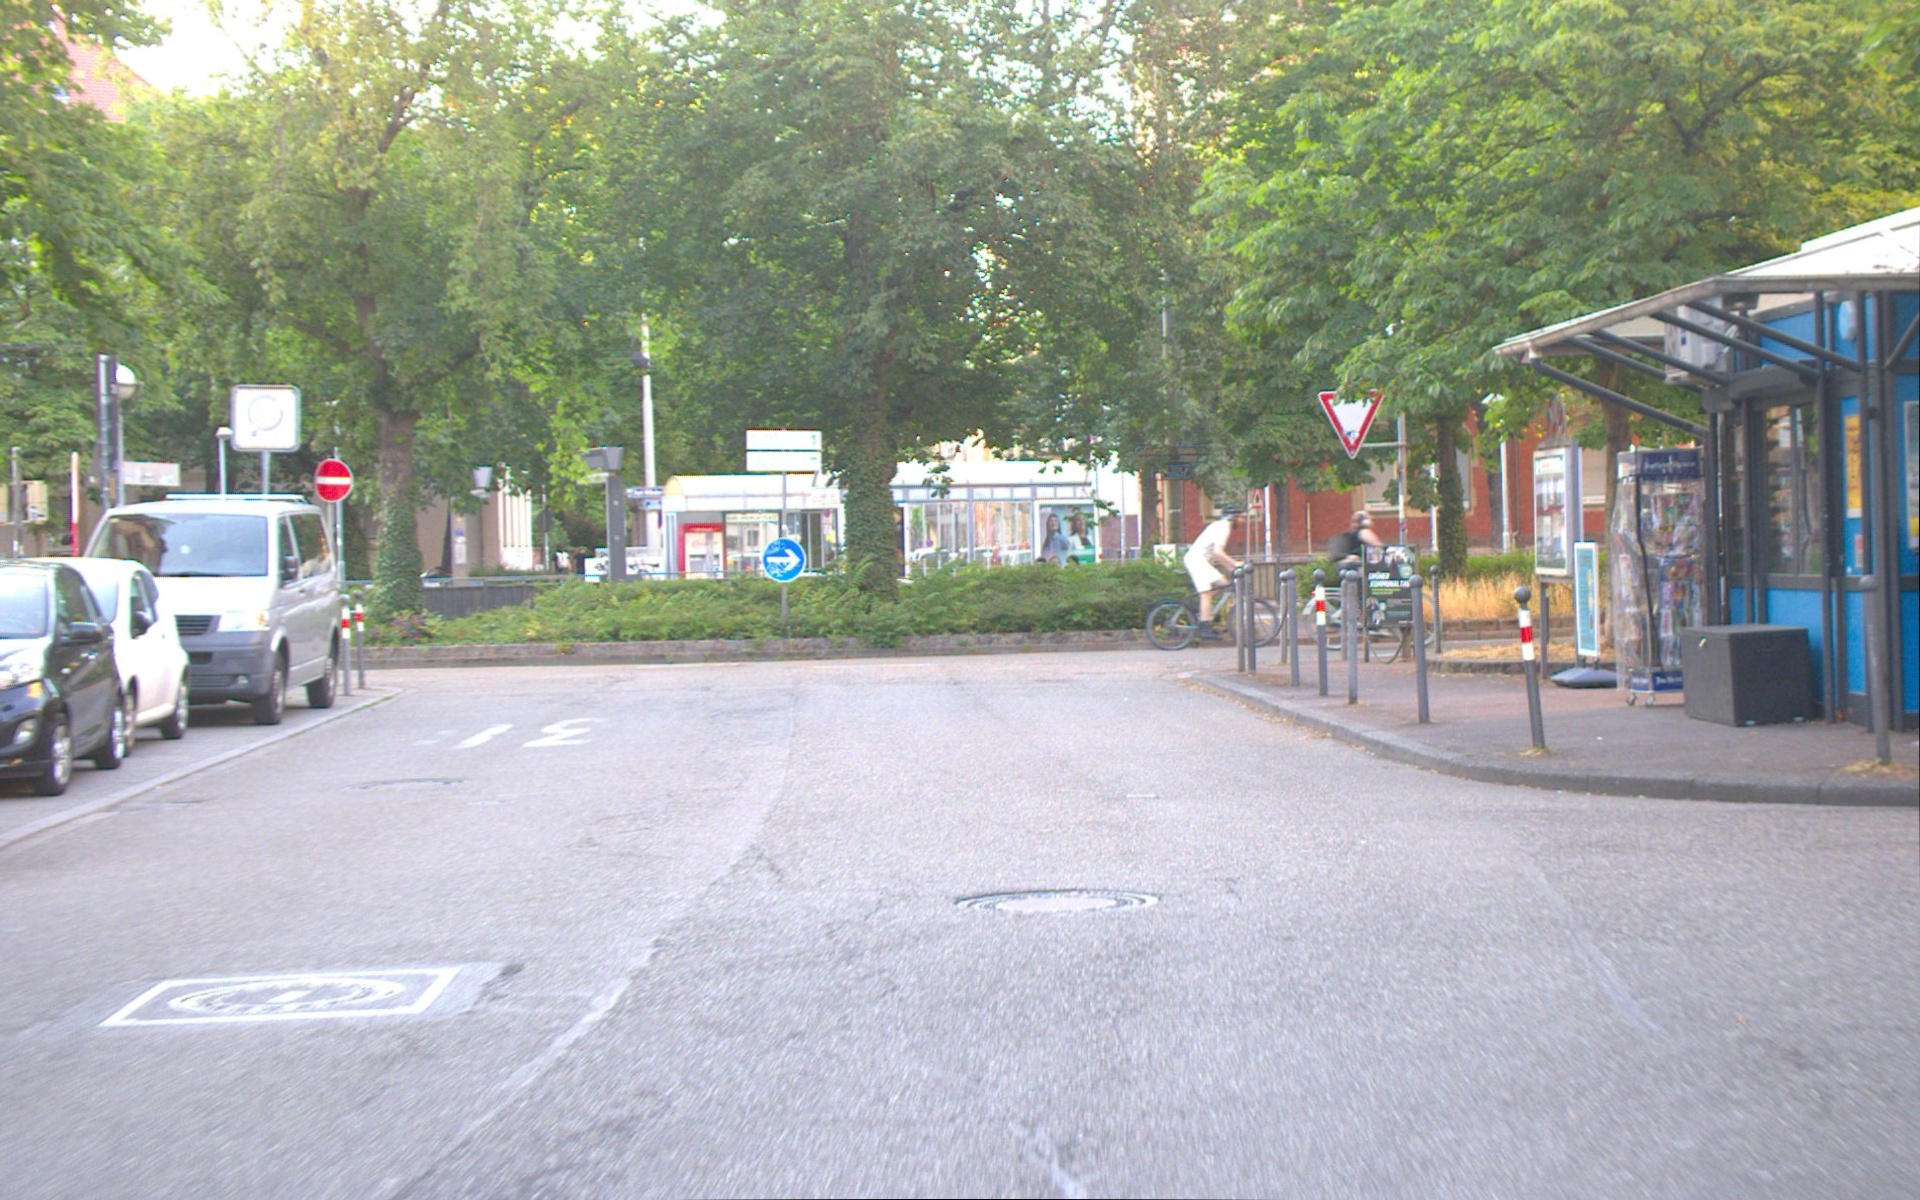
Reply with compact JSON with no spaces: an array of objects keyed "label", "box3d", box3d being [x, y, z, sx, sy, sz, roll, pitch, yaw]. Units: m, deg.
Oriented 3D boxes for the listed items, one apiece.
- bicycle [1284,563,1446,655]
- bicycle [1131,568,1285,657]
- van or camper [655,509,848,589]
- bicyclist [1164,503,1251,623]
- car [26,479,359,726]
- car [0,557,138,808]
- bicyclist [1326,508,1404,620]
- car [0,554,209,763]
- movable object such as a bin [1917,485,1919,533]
[{"label":"bicycle","box3d":[4.985,0.102,42.308,1.828,1.066,0.709,-2,1,-13]},{"label":"bicycle","box3d":[3.175,0.153,44.046,1.828,1.066,0.709,-2,1,-12]},{"label":"van or camper","box3d":[-8.107,-1.967,133.246,7.364,3.072,2.674,0,0,-6]},{"label":"bicyclist","box3d":[3.171,-0.474,44.040,0.916,1.497,0.709,-2,1,-12]},{"label":"car","box3d":[-6.861,-0.014,31.294,2.040,2.050,5.005,0,1,-2]},{"label":"car","box3d":[-6.483,0.470,22.355,1.728,1.486,3.743,0,1,-6]},{"label":"bicyclist","box3d":[4.982,-0.447,42.310,0.736,1.354,0.709,-2,1,-13]},{"label":"car","box3d":[-6.943,0.400,26.484,1.684,1.486,3.614,0,1,-3]},{"label":"movable object such as a bin","box3d":[6.249,0.027,19.814,1.222,1.470,0.765,-4,1,7]}]
